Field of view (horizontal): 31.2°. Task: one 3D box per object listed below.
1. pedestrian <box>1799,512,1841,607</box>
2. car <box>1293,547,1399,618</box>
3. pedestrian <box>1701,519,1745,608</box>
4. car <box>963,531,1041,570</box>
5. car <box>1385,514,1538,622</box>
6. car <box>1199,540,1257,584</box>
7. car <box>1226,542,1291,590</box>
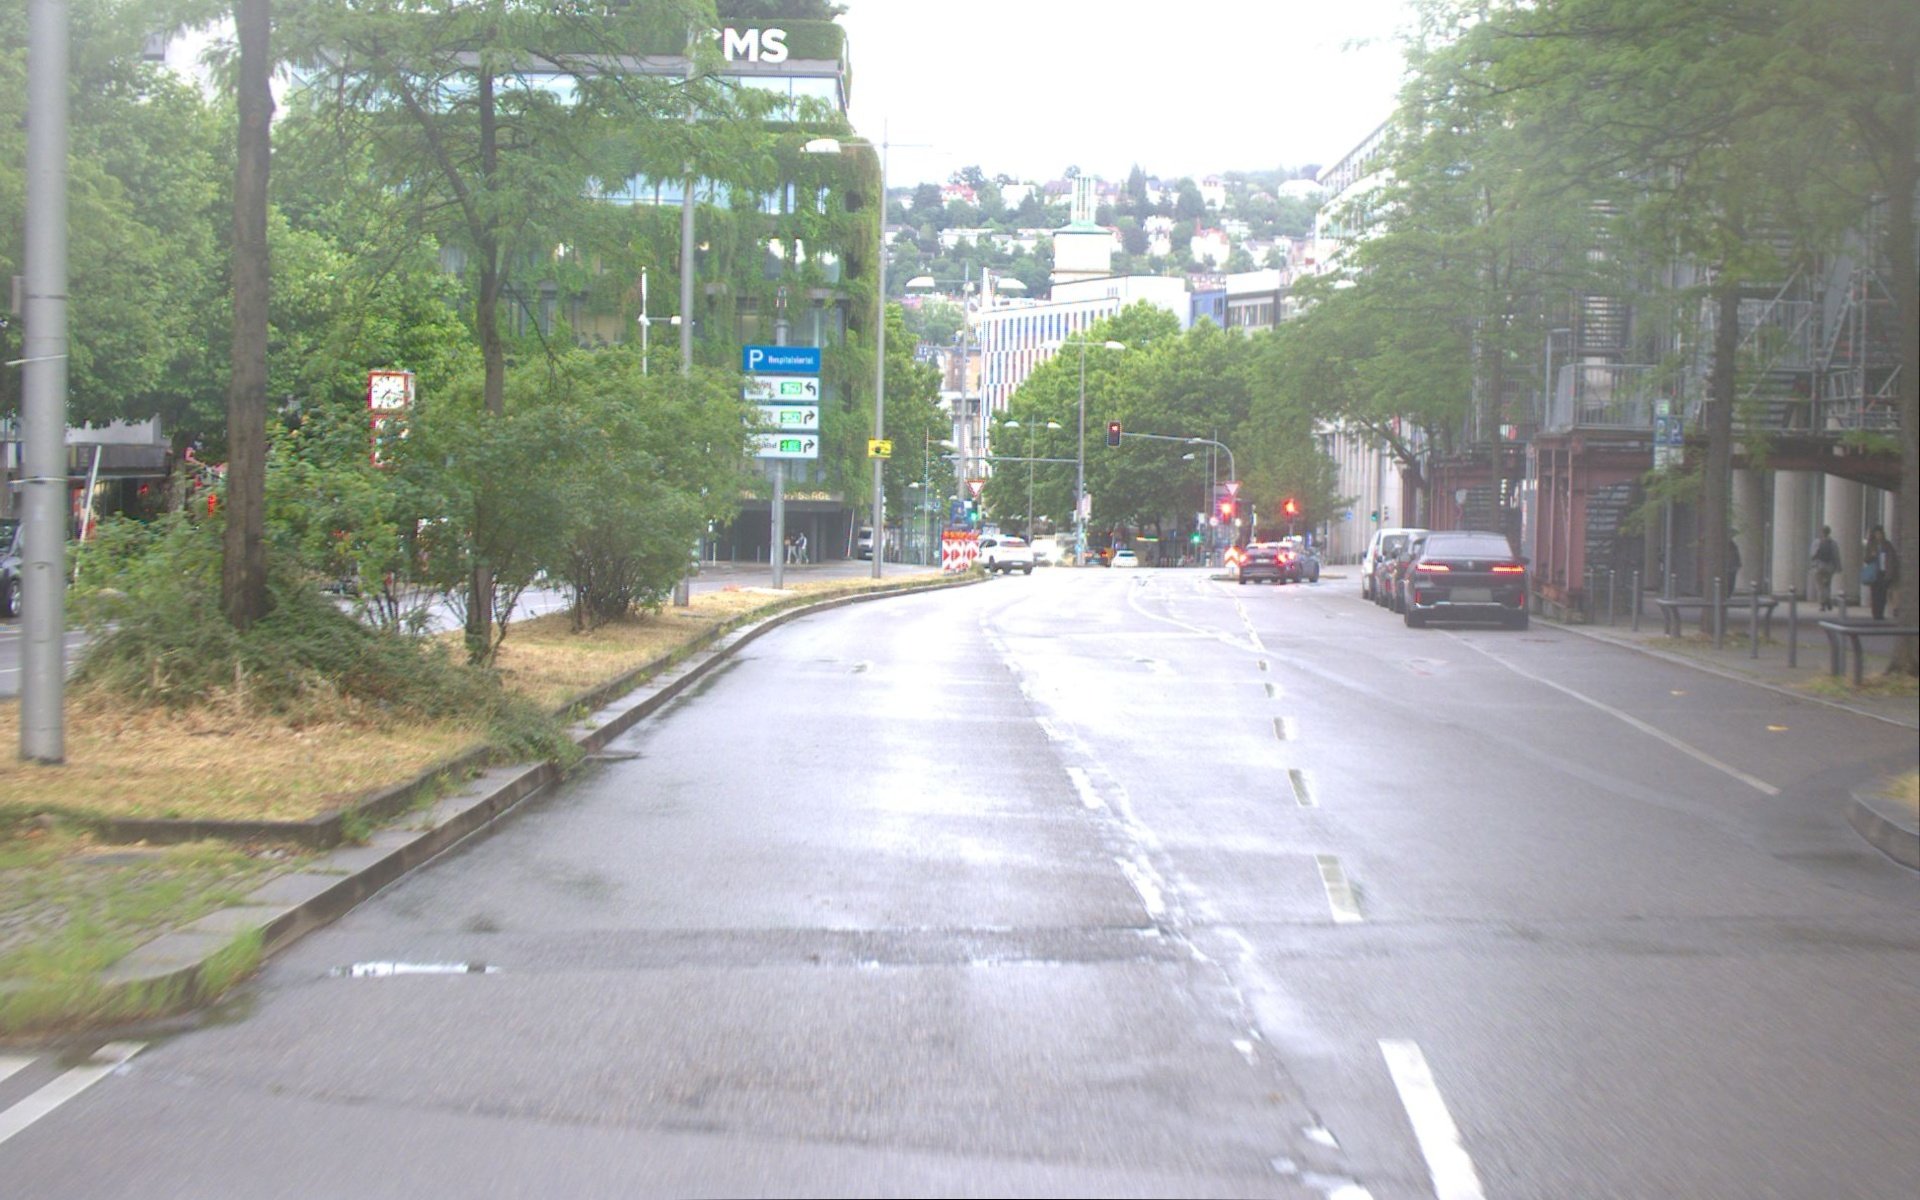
[{"bbox_3d":[17.377,-0.821,69.492,0.775,1.914,0.702,0,0,10],"label":"pedestrian"},{"bbox_3d":[8.362,-0.405,74.737,1.844,1.487,4.000,0,1,0],"label":"car"},{"bbox_3d":[16.468,-0.785,74.233,0.775,1.914,0.702,0,0,-1],"label":"pedestrian"},{"bbox_3d":[1.836,-2.202,152.133,1.828,1.634,4.301,2,0,-23],"label":"car"},{"bbox_3d":[8.149,-0.542,56.180,2.339,1.685,3.999,0,1,6],"label":"car"},{"bbox_3d":[10.864,-1.527,139.567,1.993,1.730,4.000,0,0,-1],"label":"car"},{"bbox_3d":[11.120,-1.259,128.389,1.993,1.718,4.000,0,0,-1],"label":"car"}]
